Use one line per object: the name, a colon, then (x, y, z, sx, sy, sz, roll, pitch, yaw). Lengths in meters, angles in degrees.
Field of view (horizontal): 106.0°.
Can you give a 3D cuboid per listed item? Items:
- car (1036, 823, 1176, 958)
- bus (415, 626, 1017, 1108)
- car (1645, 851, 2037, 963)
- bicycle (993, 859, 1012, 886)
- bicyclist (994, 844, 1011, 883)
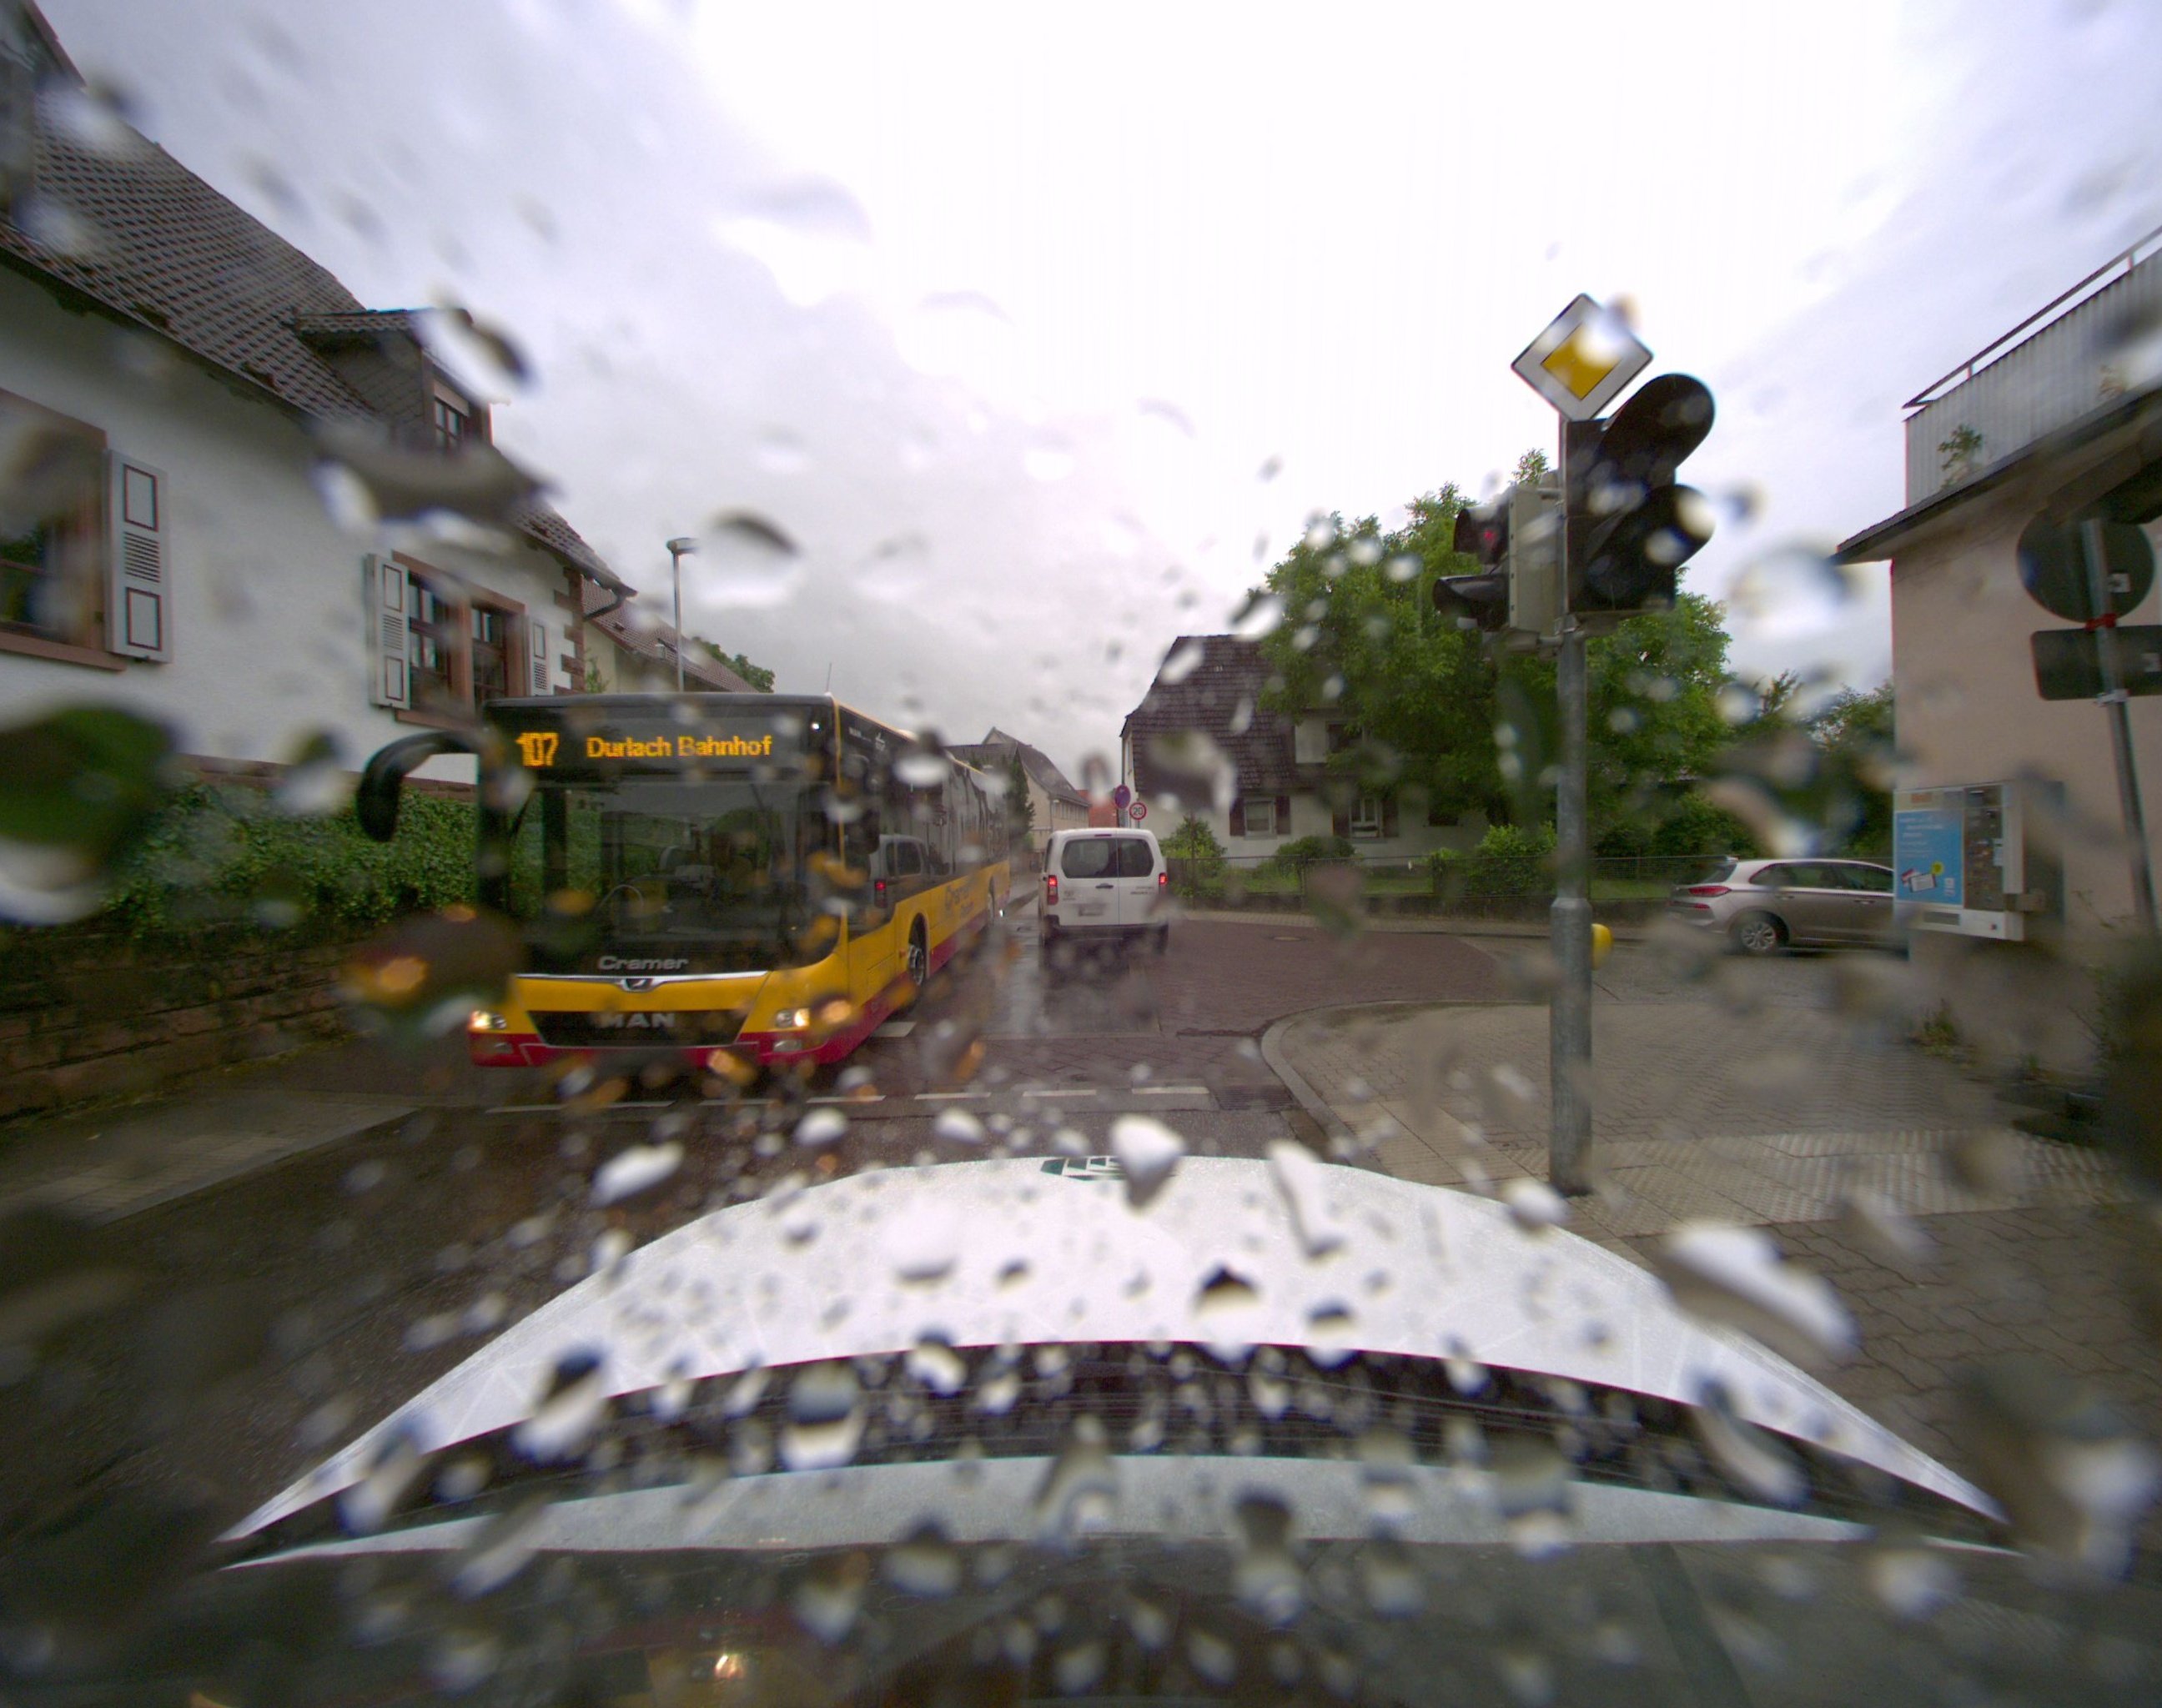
car: (0.234, 0.476, 12.845, 1.890, 1.794, 3.809, 0, 0, -3)
bus: (-2.772, -0.087, 11.237, 2.641, 2.999, 12.194, -1, 2, 0)
car: (11.135, 0.711, 12.294, 3.956, 1.466, 1.792, 0, -1, 16)
bicycle: (-3.586, 0.849, 37.237, 0.543, 1.181, 1.623, -3, -1, 5)
bicyclist: (-3.605, 0.436, 37.288, 0.586, 1.707, 0.517, -3, -1, 4)
